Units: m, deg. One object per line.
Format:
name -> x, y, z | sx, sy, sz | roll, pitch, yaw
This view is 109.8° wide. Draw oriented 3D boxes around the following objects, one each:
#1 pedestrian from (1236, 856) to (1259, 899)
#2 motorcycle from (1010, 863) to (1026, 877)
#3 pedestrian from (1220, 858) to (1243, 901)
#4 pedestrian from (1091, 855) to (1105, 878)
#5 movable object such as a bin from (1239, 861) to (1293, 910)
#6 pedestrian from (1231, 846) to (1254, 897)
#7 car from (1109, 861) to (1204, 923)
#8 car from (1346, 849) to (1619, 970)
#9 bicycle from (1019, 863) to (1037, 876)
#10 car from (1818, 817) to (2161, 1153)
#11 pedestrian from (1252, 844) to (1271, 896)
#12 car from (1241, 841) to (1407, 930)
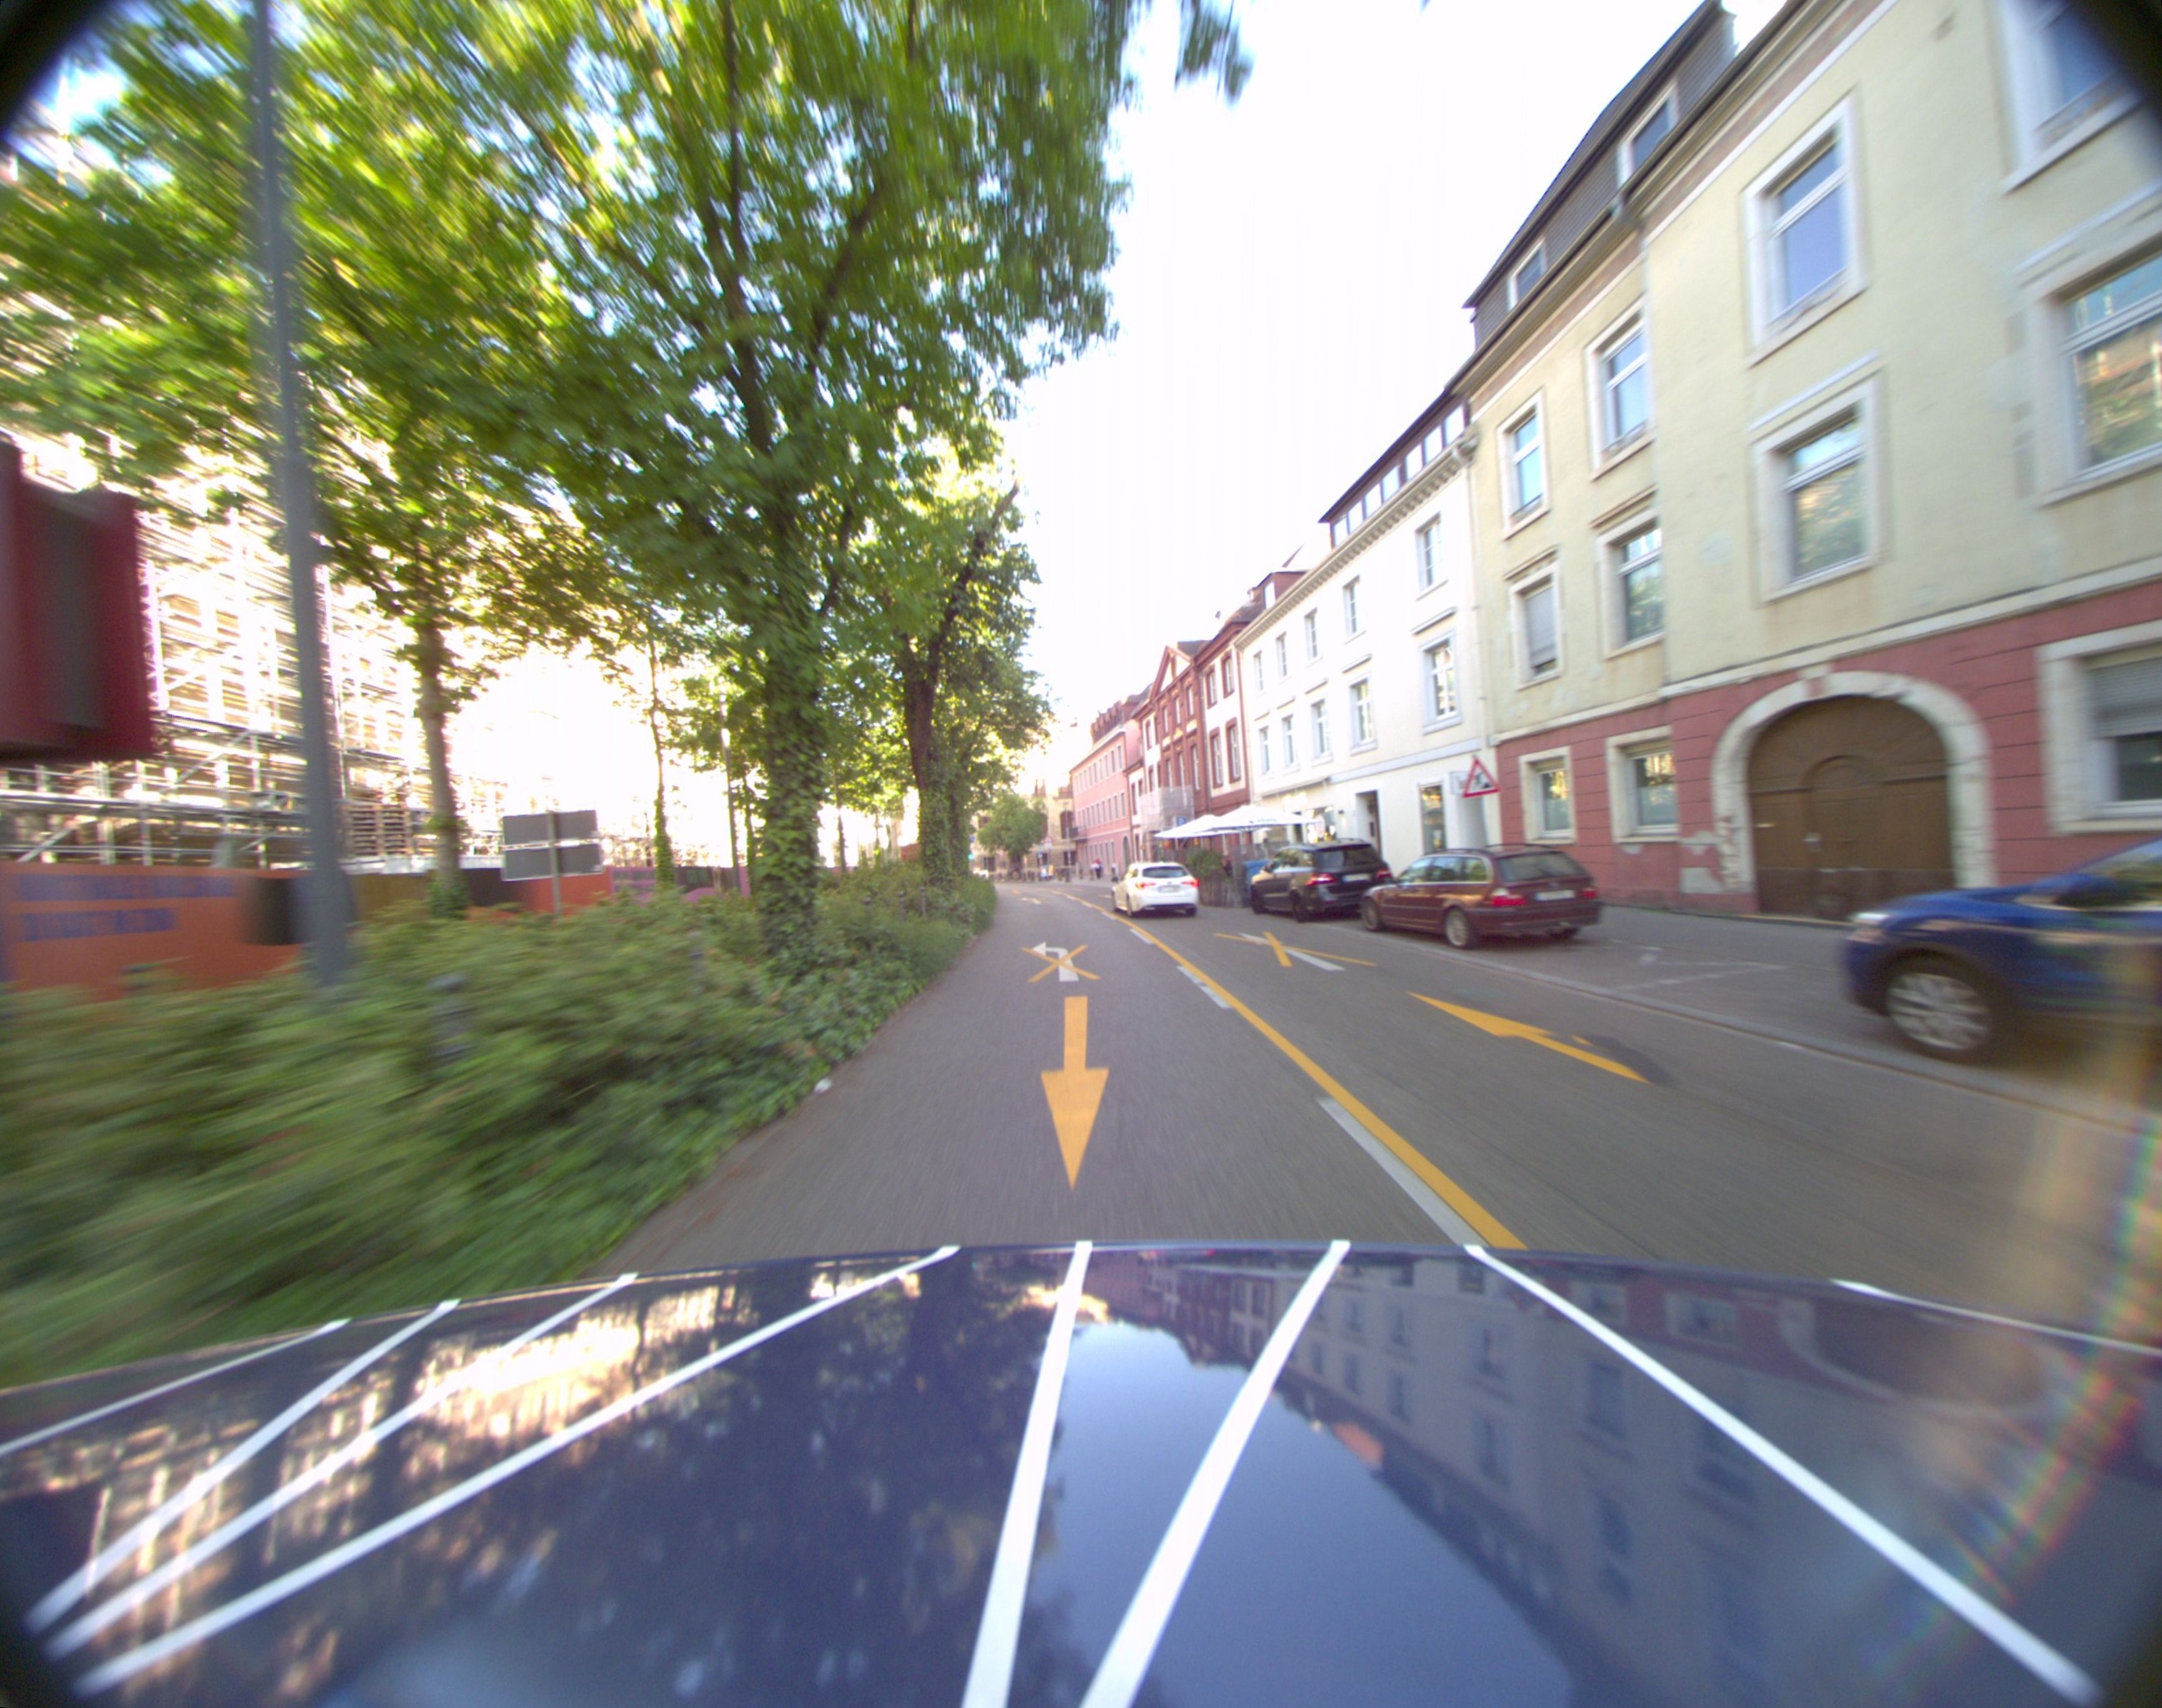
pedestrian -> 5.597, 0.791, 25.492 | 0.525, 1.383, 0.488 | -4, 0, -10
motorcycle -> -6.060, 1.560, 73.020 | 0.815, 1.309, 2.333 | -4, 0, -23
pedestrian -> 4.995, 0.857, 25.279 | 0.525, 1.383, 0.488 | -4, 0, -10
pedestrian -> 1.277, 0.935, 57.936 | 0.793, 1.679, 0.868 | -5, 1, -10
movable object such as a bin -> 5.192, 0.870, 21.385 | 1.219, 1.288, 0.930 | -3, 0, -2
pedestrian -> 5.804, 0.625, 27.319 | 0.597, 1.764, 0.439 | -4, 0, 2
car -> 1.939, 0.950, 20.895 | 1.740, 1.413, 4.426 | -3, 0, -5
car -> 5.991, 0.726, 12.057 | 1.658, 1.471, 4.426 | -3, 0, -4
bicycle -> -5.243, 1.543, 75.295 | 0.682, 1.199, 2.009 | -2, 0, 34
car -> 6.399, 0.629, 3.374 | 1.939, 1.657, 4.346 | -3, 0, -1
pedestrian -> 6.239, 0.550, 26.258 | 0.438, 1.764, 0.598 | -4, 0, 6
car -> 5.380, 0.650, 17.615 | 1.927, 1.669, 4.783 | -3, 0, -5
